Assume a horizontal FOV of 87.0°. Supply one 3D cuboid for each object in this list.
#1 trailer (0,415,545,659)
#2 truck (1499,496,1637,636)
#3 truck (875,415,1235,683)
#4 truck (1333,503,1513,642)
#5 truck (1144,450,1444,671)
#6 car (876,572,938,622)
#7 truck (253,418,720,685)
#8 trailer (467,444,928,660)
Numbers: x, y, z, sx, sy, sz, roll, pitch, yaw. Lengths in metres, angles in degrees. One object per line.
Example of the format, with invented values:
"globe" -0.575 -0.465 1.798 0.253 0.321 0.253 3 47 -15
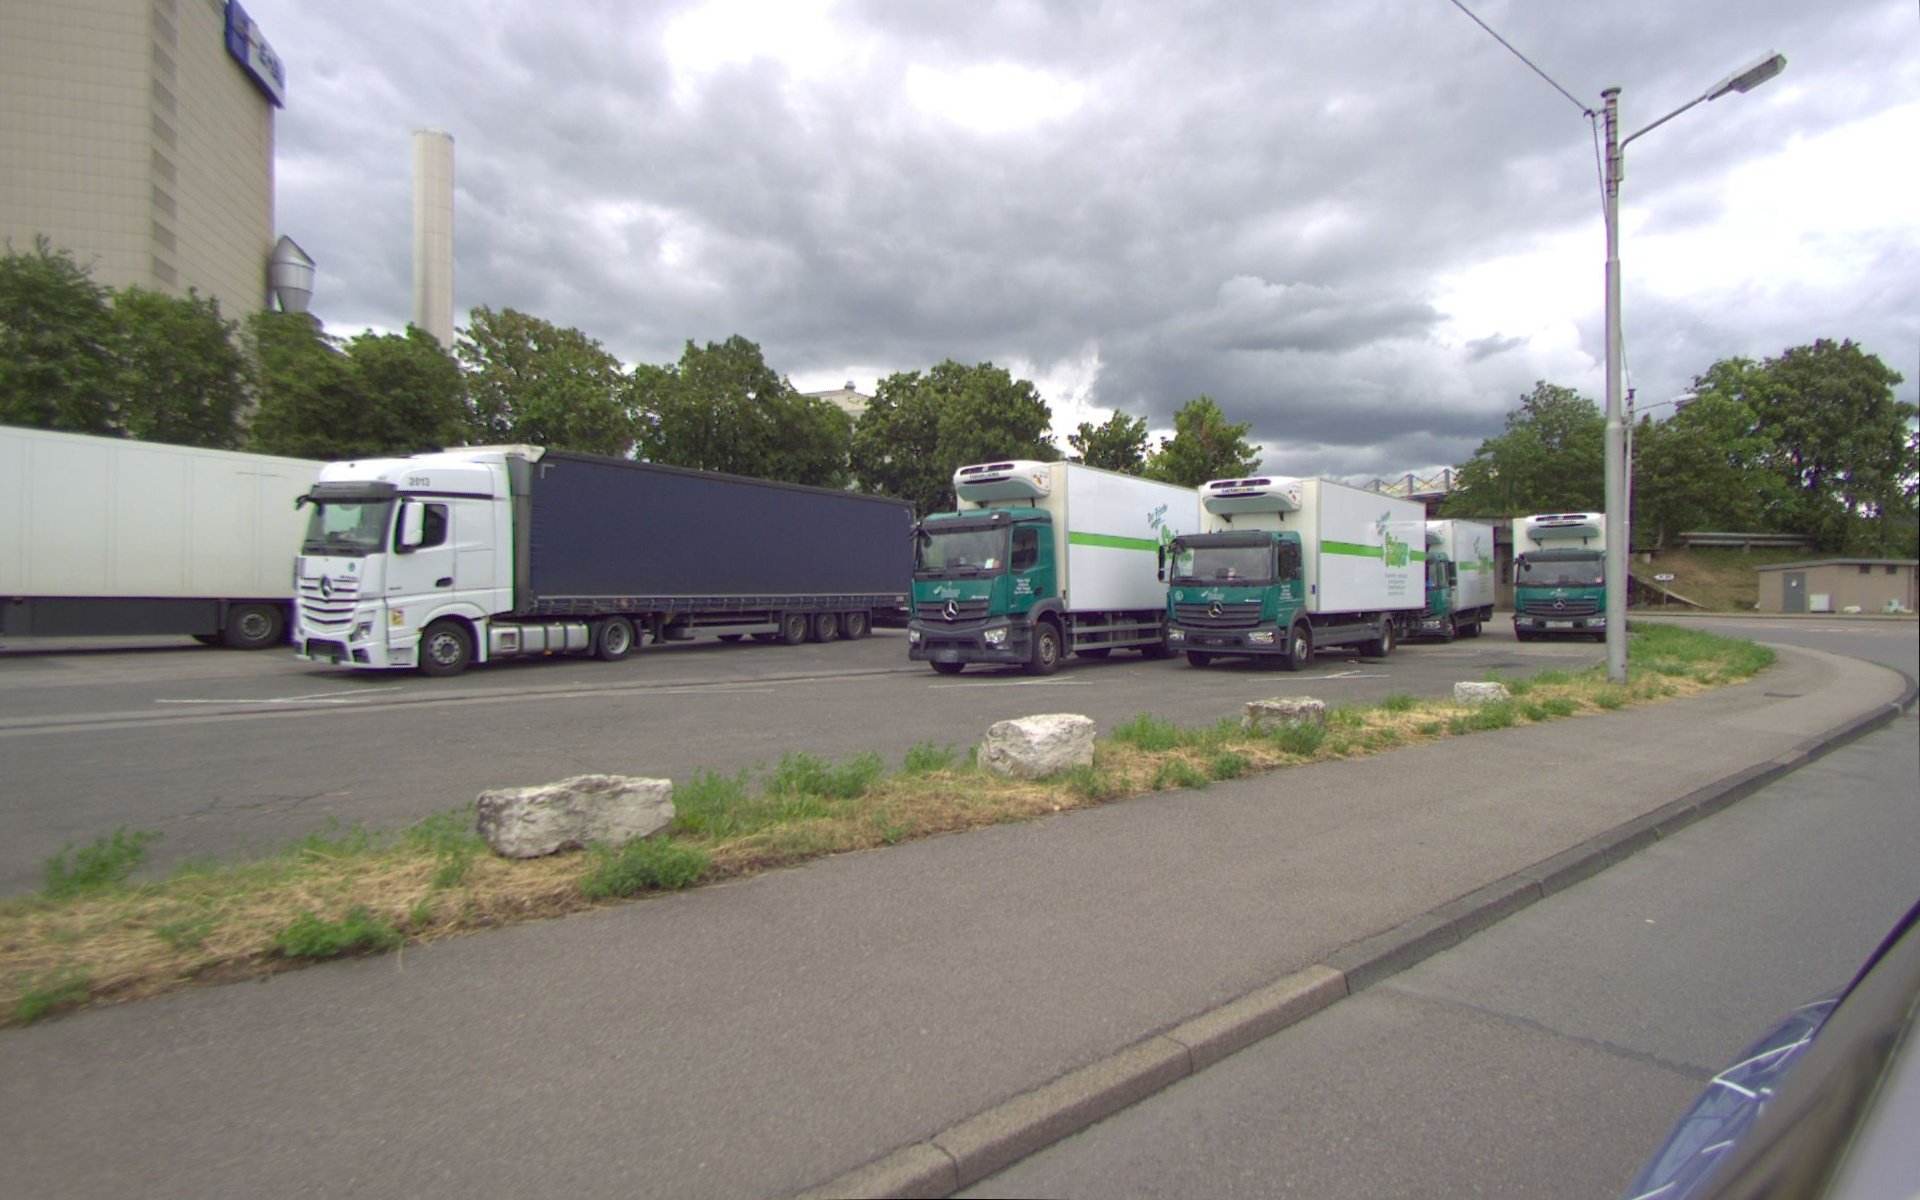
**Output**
"trailer" -15.615 -1.154 21.269 2.691 4.231 13.308 1 1 37
"truck" 18.733 -0.991 30.874 3.052 3.676 8.499 -1 1 35
"truck" 2.677 -0.968 22.130 2.969 4.489 10.426 -1 1 35
"truck" 14.554 -0.815 31.348 3.055 3.677 8.488 -3 -1 38
"truck" 7.940 -0.715 22.688 2.973 3.879 10.288 -1 0 39
"car" -2.353 -0.188 43.960 1.958 2.076 4.009 0 1 -15
"truck" -8.573 -0.896 19.628 3.046 4.051 7.956 3 3 29
"trailer" -5.451 -1.020 25.273 3.037 4.026 12.970 2 2 29
